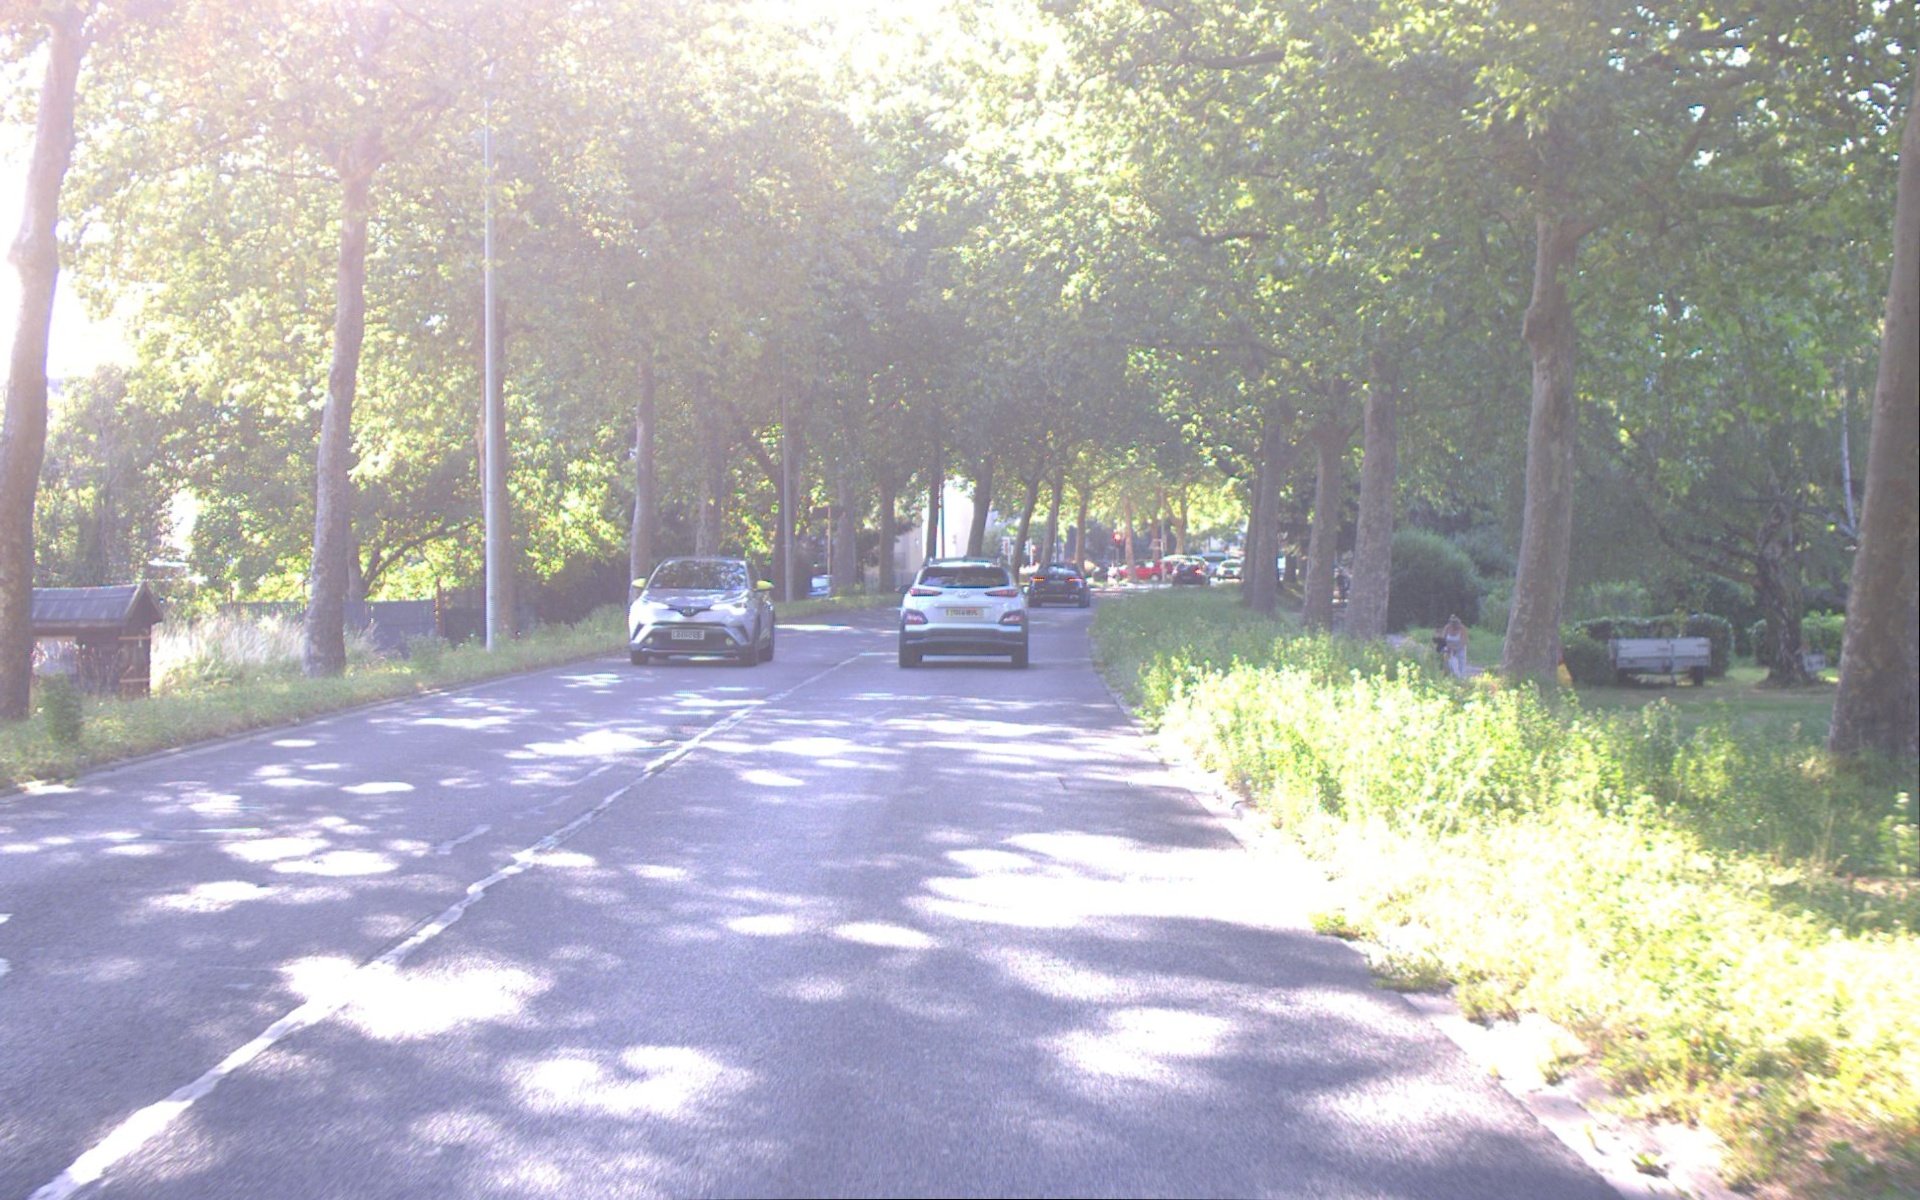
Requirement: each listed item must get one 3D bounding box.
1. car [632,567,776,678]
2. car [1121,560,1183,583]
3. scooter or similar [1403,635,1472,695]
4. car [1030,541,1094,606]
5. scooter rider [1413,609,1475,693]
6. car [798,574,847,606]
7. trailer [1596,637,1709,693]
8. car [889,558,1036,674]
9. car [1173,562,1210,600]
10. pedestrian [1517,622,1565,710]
[{"bbox_3d":[-3.631,0.311,49.268,1.715,1.500,4.000,1,0,0],"label":"car"},{"bbox_3d":[13.137,-1.949,235.257,3.988,1.473,1.999,1,0,10],"label":"car"},{"bbox_3d":[9.110,1.232,65.528,1.595,1.131,0.341,1,0,-42],"label":"scooter or similar"},{"bbox_3d":[3.263,-0.817,109.617,1.993,2.007,4.000,1,0,2],"label":"car"},{"bbox_3d":[9.242,0.968,65.606,0.842,1.571,0.784,1,0,-39],"label":"scooter rider"},{"bbox_3d":[-6.013,-0.454,151.050,1.752,1.300,4.000,-1,1,3],"label":"car"},{"bbox_3d":[13.816,1.291,68.649,2.118,1.049,1.200,1,0,7],"label":"trailer"},{"bbox_3d":[0.084,0.216,49.404,1.993,1.569,4.000,1,0,2],"label":"car"},{"bbox_3d":[12.701,-1.036,188.566,1.994,2.007,3.999,1,0,4],"label":"car"},{"bbox_3d":[10.579,1.199,62.583,0.842,1.571,1.206,1,0,10],"label":"pedestrian"}]
